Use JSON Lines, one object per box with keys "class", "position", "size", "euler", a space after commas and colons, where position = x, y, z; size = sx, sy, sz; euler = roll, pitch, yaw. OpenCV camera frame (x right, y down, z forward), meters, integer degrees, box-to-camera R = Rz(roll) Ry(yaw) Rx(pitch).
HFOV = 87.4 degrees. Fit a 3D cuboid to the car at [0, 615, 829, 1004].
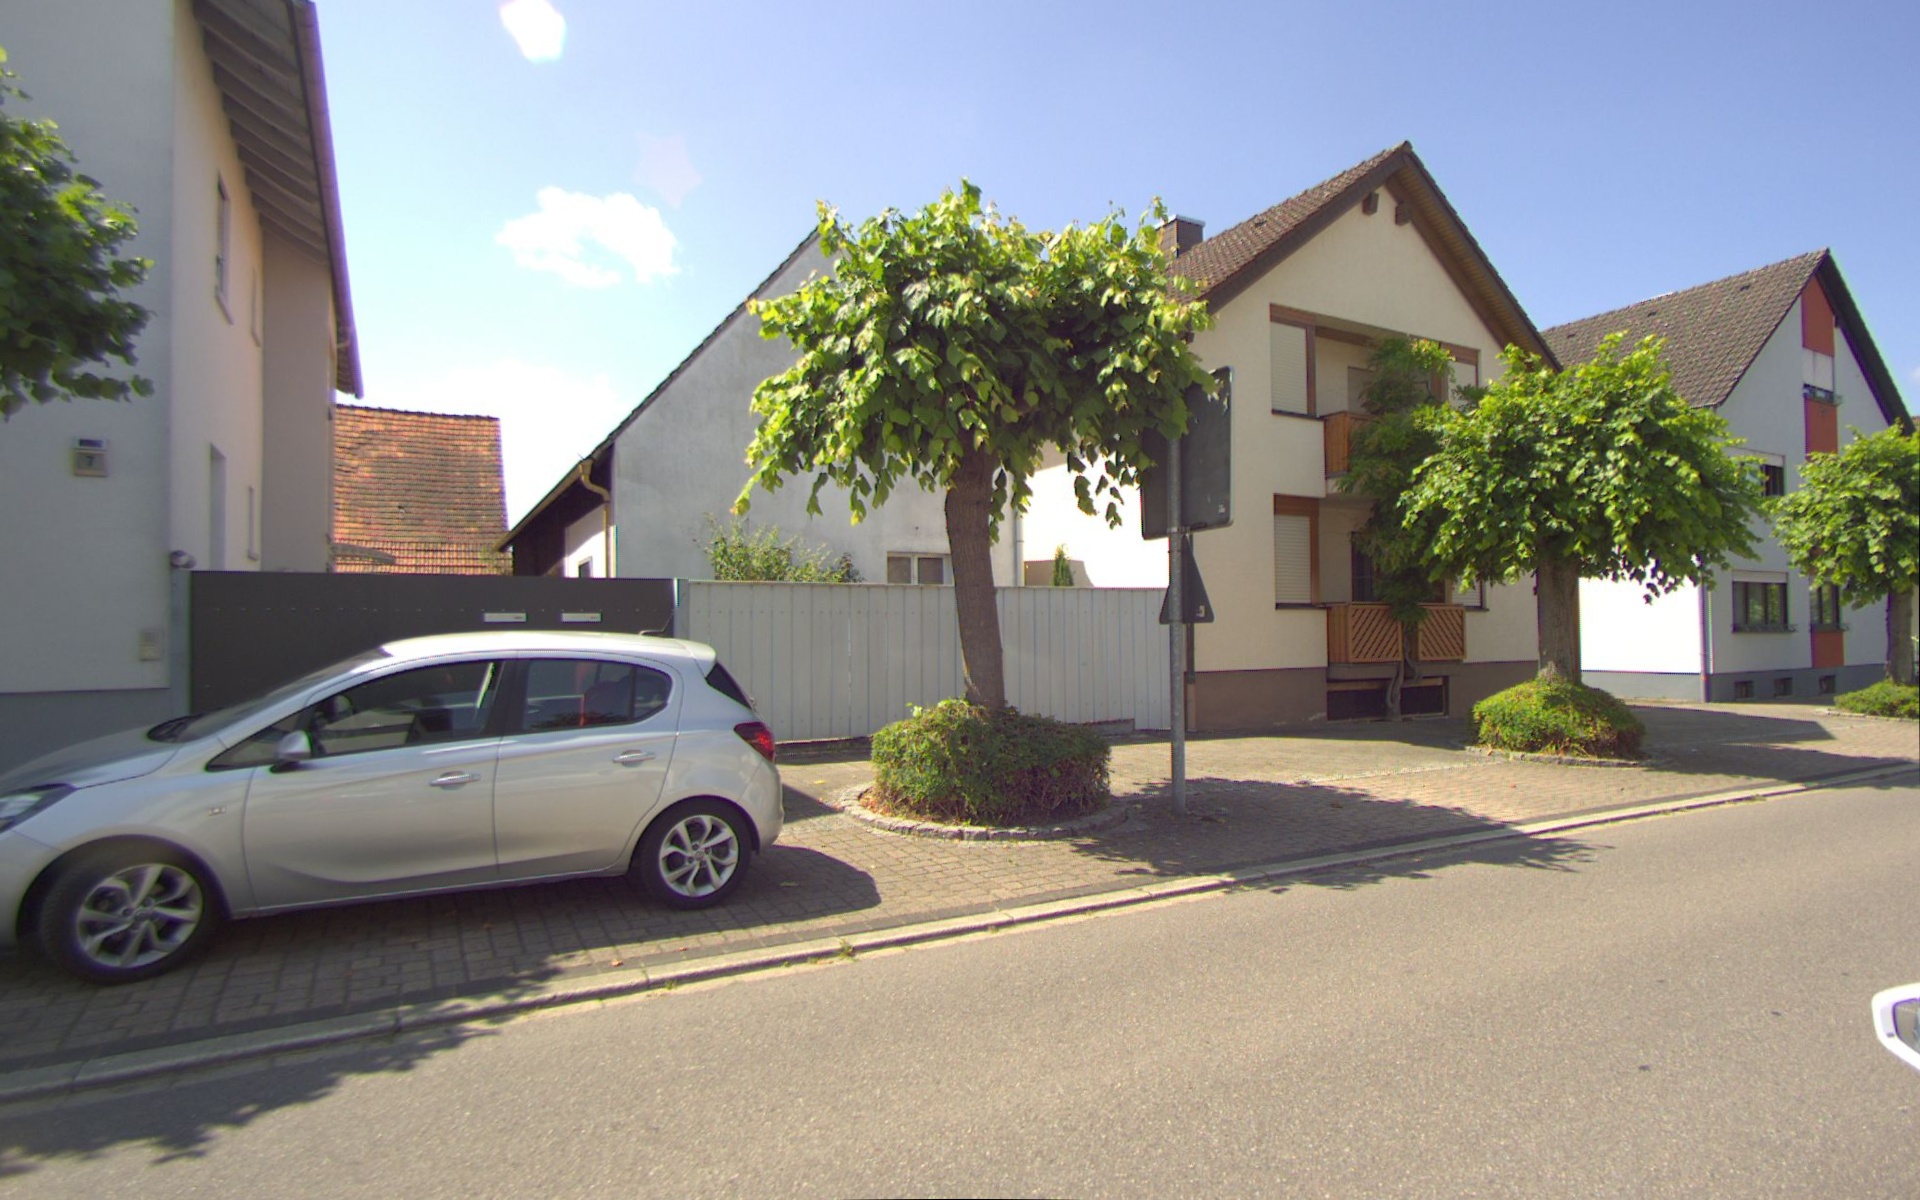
{"class": "car", "position": [-2.979, 0.890, 5.561], "size": [4.083, 1.503, 1.816], "euler": [2, 0, -30]}
